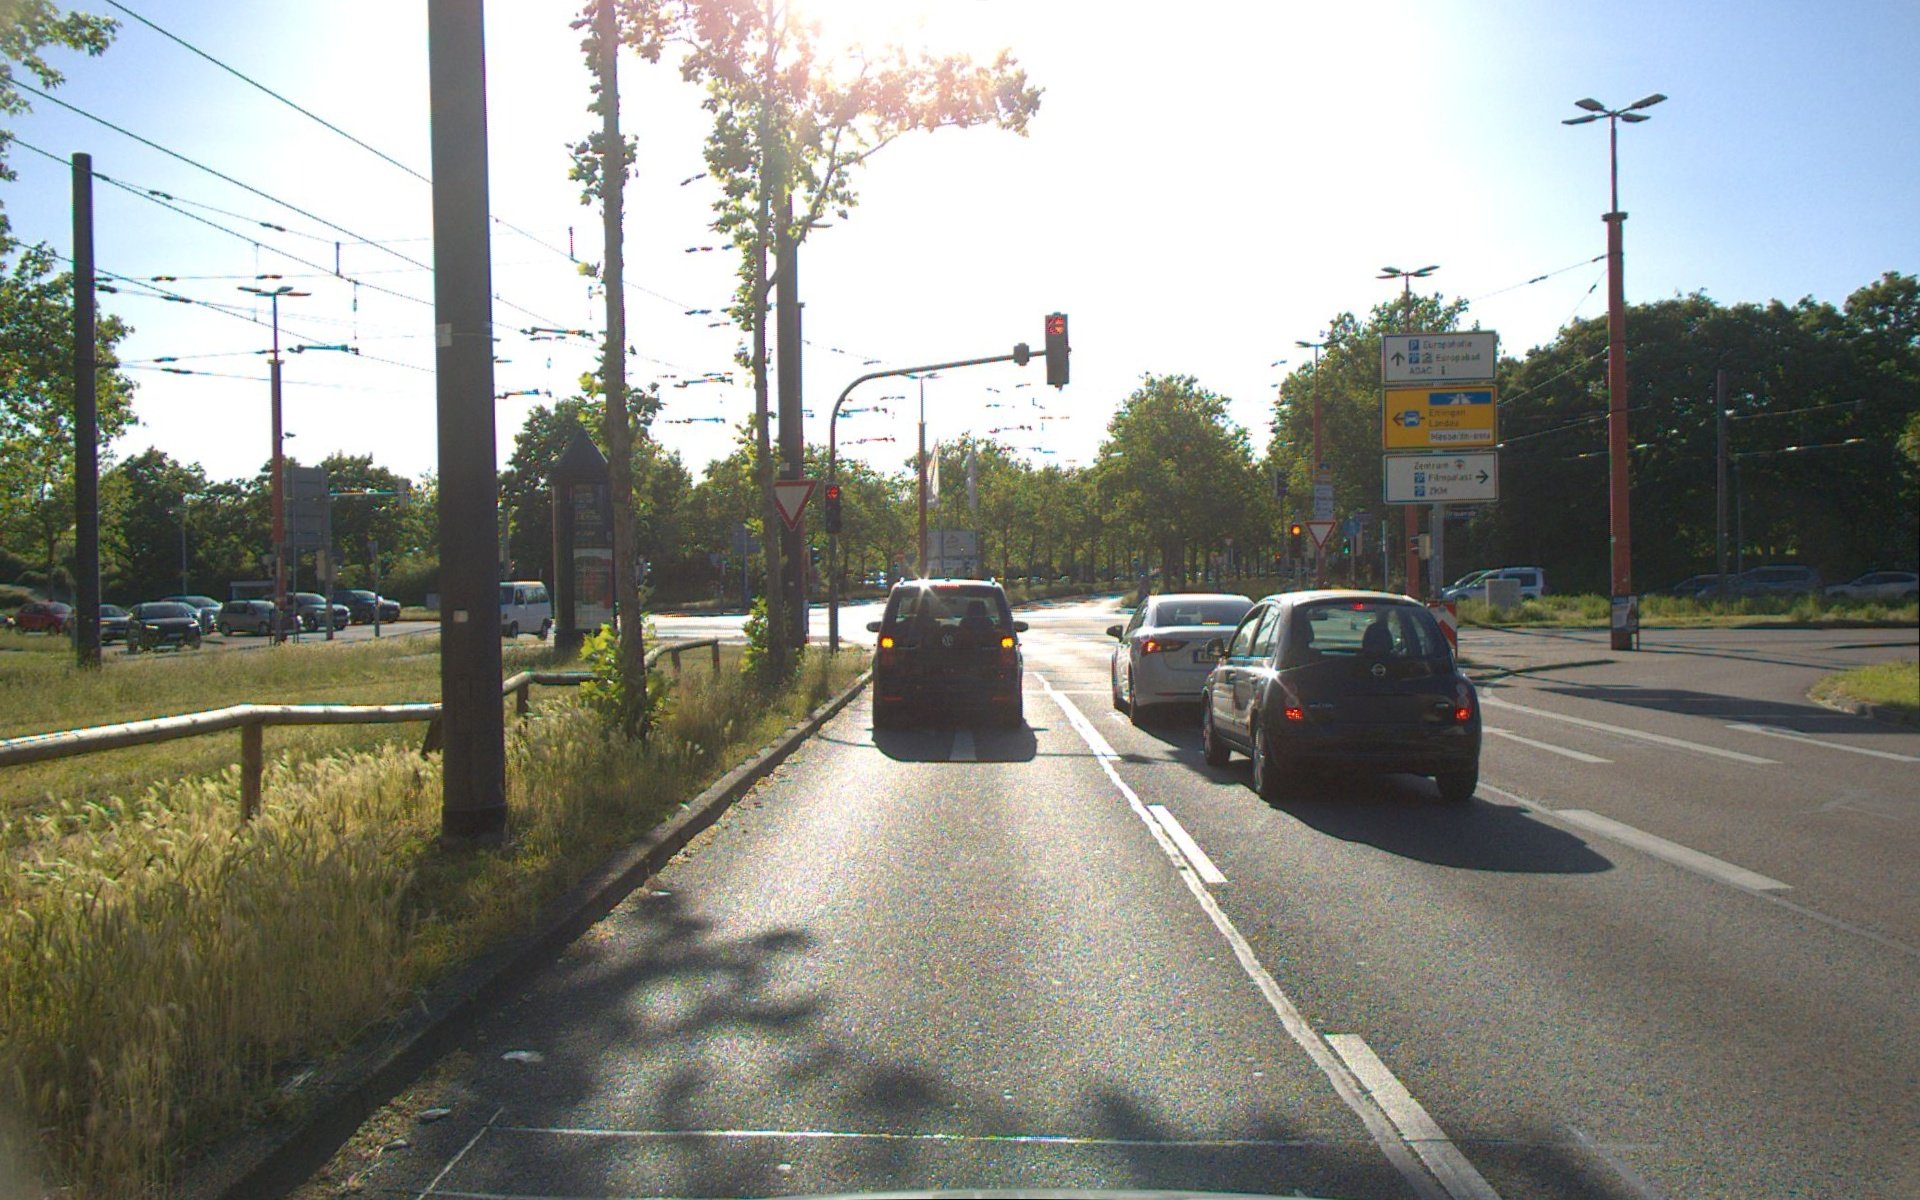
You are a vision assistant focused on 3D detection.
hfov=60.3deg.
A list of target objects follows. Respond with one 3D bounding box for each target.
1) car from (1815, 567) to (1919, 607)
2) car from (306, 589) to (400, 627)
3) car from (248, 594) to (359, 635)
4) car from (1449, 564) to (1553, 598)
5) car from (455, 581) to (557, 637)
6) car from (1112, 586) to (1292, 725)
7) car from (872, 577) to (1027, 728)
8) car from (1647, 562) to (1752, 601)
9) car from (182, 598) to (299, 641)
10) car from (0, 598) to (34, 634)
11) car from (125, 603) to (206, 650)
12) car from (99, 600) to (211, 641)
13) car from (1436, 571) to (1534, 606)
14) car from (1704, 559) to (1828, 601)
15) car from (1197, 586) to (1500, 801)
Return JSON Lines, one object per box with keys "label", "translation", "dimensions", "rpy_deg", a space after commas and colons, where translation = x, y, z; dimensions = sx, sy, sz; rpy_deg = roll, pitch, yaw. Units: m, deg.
{"label": "car", "translation": [36.002, -0.502, 65.352], "dimensions": [3.909, 1.521, 1.859], "rpy_deg": [0, 0, 27]}
{"label": "car", "translation": [-29.686, 0.401, 80.888], "dimensions": [3.903, 1.649, 1.901], "rpy_deg": [-1, 2, 19]}
{"label": "car", "translation": [-29.388, 0.633, 74.091], "dimensions": [4.391, 1.638, 1.901], "rpy_deg": [-1, 2, 19]}
{"label": "car", "translation": [22.517, -0.784, 68.872], "dimensions": [3.909, 1.361, 1.727], "rpy_deg": [0, 0, 26]}
{"label": "car", "translation": [-15.359, 0.293, 56.167], "dimensions": [1.784, 1.811, 4.570], "rpy_deg": [0, 0, 6]}
{"label": "car", "translation": [2.823, 0.608, 20.061], "dimensions": [1.644, 1.501, 4.131], "rpy_deg": [0, 0, 1]}
{"label": "car", "translation": [-0.133, 0.570, 19.524], "dimensions": [1.675, 1.631, 3.349], "rpy_deg": [0, 0, -1]}
{"label": "car", "translation": [30.602, -0.754, 68.436], "dimensions": [3.909, 1.588, 1.897], "rpy_deg": [0, 0, 27]}
{"label": "car", "translation": [-30.775, 0.844, 70.788], "dimensions": [4.391, 1.638, 1.901], "rpy_deg": [-1, 2, 19]}
{"label": "car", "translation": [-47.629, 0.750, 80.587], "dimensions": [4.391, 1.638, 1.901], "rpy_deg": [0, 3, 19]}
{"label": "car", "translation": [-27.950, 0.897, 58.127], "dimensions": [1.878, 1.570, 4.445], "rpy_deg": [0, 0, -35]}
{"label": "car", "translation": [-35.936, 0.905, 73.860], "dimensions": [4.391, 1.638, 1.901], "rpy_deg": [-1, 2, 19]}
{"label": "car", "translation": [22.919, -0.495, 72.214], "dimensions": [3.908, 1.502, 1.788], "rpy_deg": [0, 0, 26]}
{"label": "car", "translation": [31.275, -0.752, 64.279], "dimensions": [4.265, 1.586, 1.871], "rpy_deg": [0, 0, 25]}
{"label": "car", "translation": [3.013, 0.650, 13.512], "dimensions": [1.605, 1.520, 3.503], "rpy_deg": [0, 1, -1]}
